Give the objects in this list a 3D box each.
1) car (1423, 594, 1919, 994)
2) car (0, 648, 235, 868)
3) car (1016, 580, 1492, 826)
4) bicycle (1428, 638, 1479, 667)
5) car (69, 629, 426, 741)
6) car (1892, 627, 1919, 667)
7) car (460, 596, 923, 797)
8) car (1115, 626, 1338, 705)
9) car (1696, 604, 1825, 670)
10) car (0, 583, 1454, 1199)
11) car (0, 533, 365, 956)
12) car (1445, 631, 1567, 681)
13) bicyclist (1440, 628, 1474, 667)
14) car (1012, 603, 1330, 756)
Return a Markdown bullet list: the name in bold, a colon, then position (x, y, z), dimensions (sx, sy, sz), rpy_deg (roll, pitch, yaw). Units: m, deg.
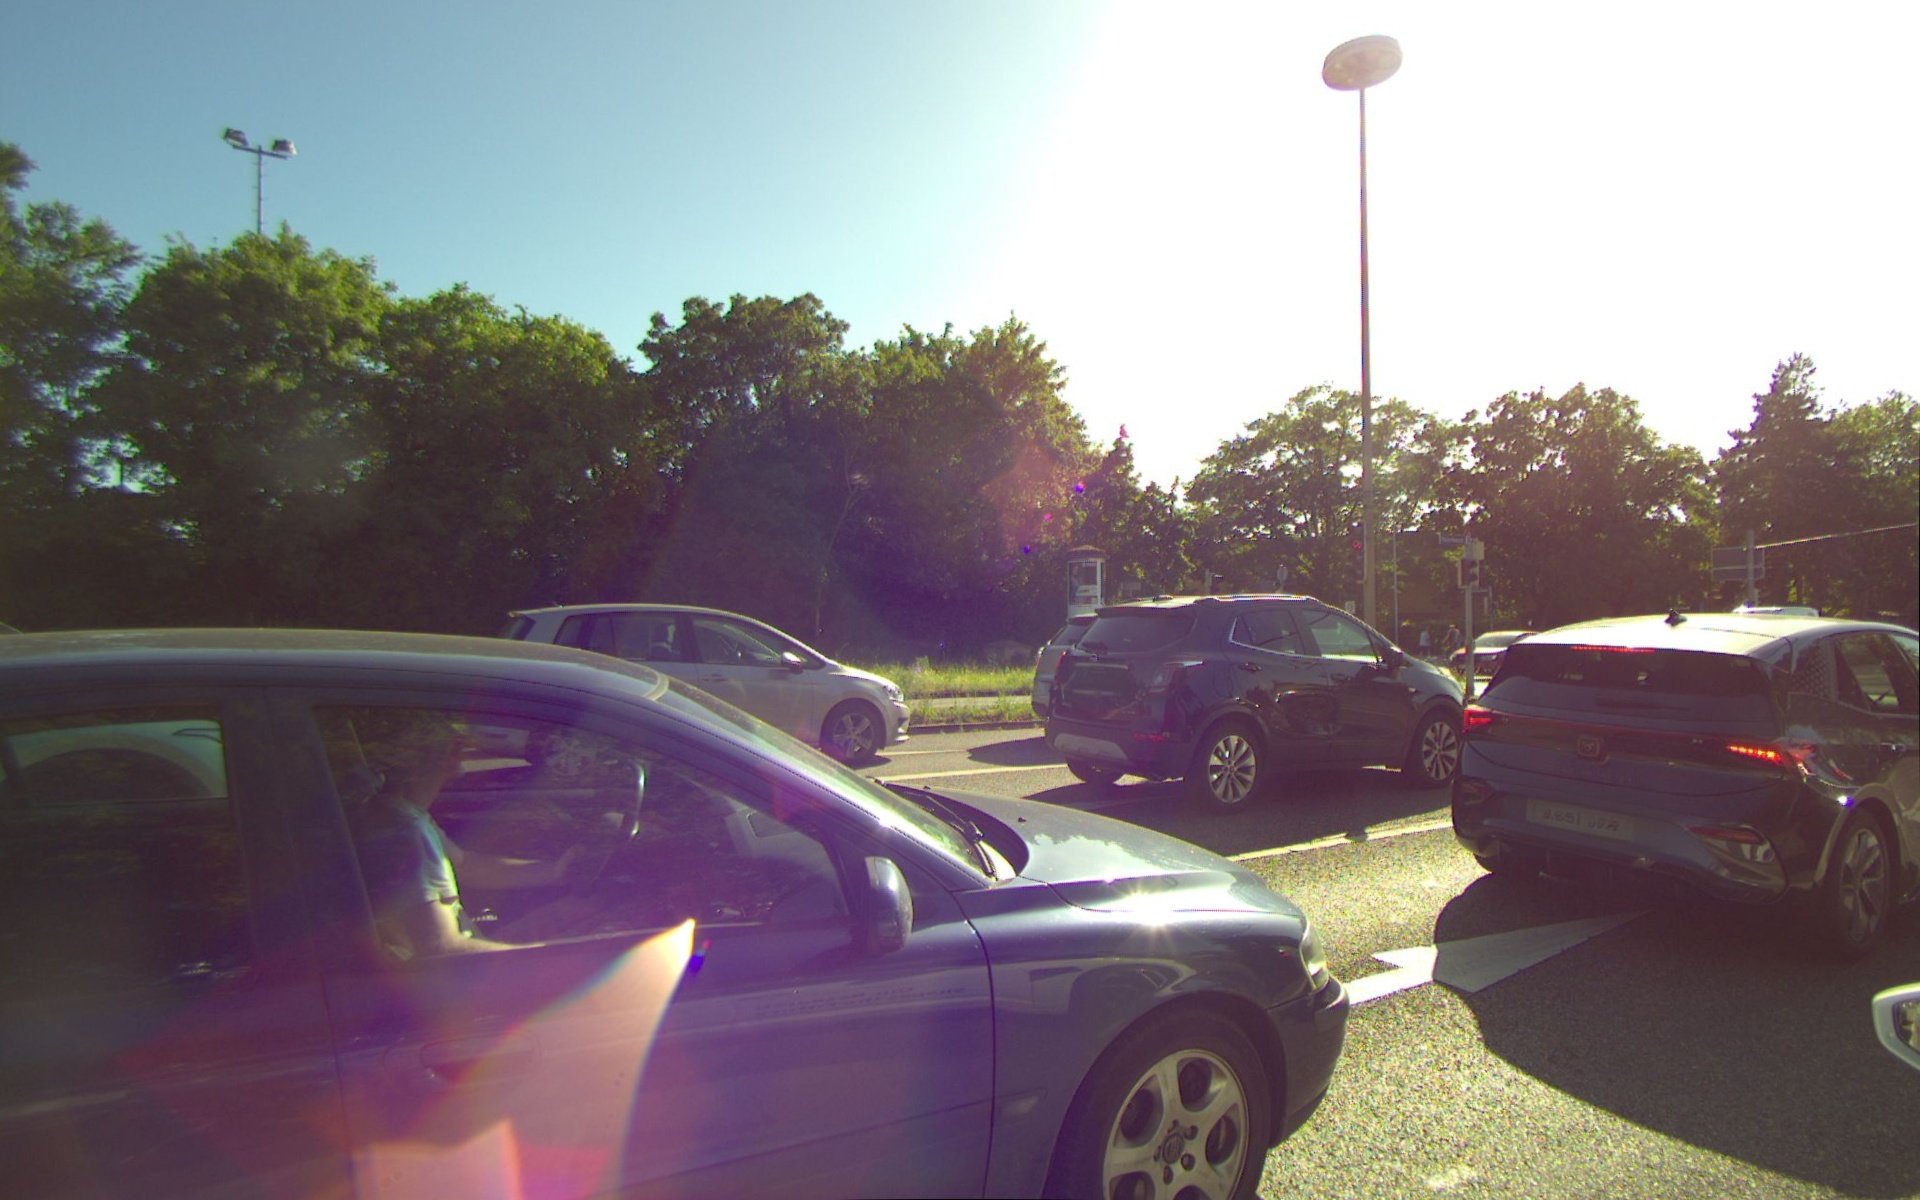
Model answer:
- **car**: position (4.741, 0.833, 5.814), dimensions (4.158, 1.601, 1.676), rpy_deg (2, -1, -30)
- **car**: position (-7.913, 1.083, 6.940), dimensions (4.499, 1.448, 1.822), rpy_deg (1, -2, -30)
- **car**: position (2.620, 0.776, 8.793), dimensions (3.953, 1.711, 1.796), rpy_deg (1, -2, -30)
- **bicycle**: position (21.327, 2.265, 43.382), dimensions (2.511, 1.228, 0.870), rpy_deg (1, -2, -35)
- **car**: position (-10.458, 1.190, 15.147), dimensions (4.173, 1.475, 1.633), rpy_deg (1, -2, -31)
- **car**: position (41.371, 1.965, 42.226), dimensions (4.561, 1.622, 1.984), rpy_deg (1, -2, -30)
- **car**: position (-2.613, 0.843, 10.003), dimensions (4.156, 1.632, 1.822), rpy_deg (1, -2, -30)
- **car**: position (5.471, 1.277, 20.443), dimensions (4.561, 1.452, 1.678), rpy_deg (1, -2, -30)
- **car**: position (32.575, 1.497, 40.827), dimensions (5.934, 2.525, 2.090), rpy_deg (1, -2, -30)
- **car**: position (-1.095, 0.732, 2.199), dimensions (4.404, 1.471, 1.767), rpy_deg (2, 0, -30)
- **car**: position (-5.249, 0.605, 4.506), dimensions (4.373, 1.732, 1.984), rpy_deg (1, -2, -30)
- **car**: position (17.577, 1.773, 32.306), dimensions (3.956, 1.529, 1.678), rpy_deg (1, -2, -30)
- **bicyclist**: position (21.587, 2.057, 43.627), dimensions (1.187, 1.670, 0.870), rpy_deg (1, -2, -35)
- **car**: position (2.810, 0.960, 13.180), dimensions (3.956, 1.724, 1.820), rpy_deg (1, -2, -32)
